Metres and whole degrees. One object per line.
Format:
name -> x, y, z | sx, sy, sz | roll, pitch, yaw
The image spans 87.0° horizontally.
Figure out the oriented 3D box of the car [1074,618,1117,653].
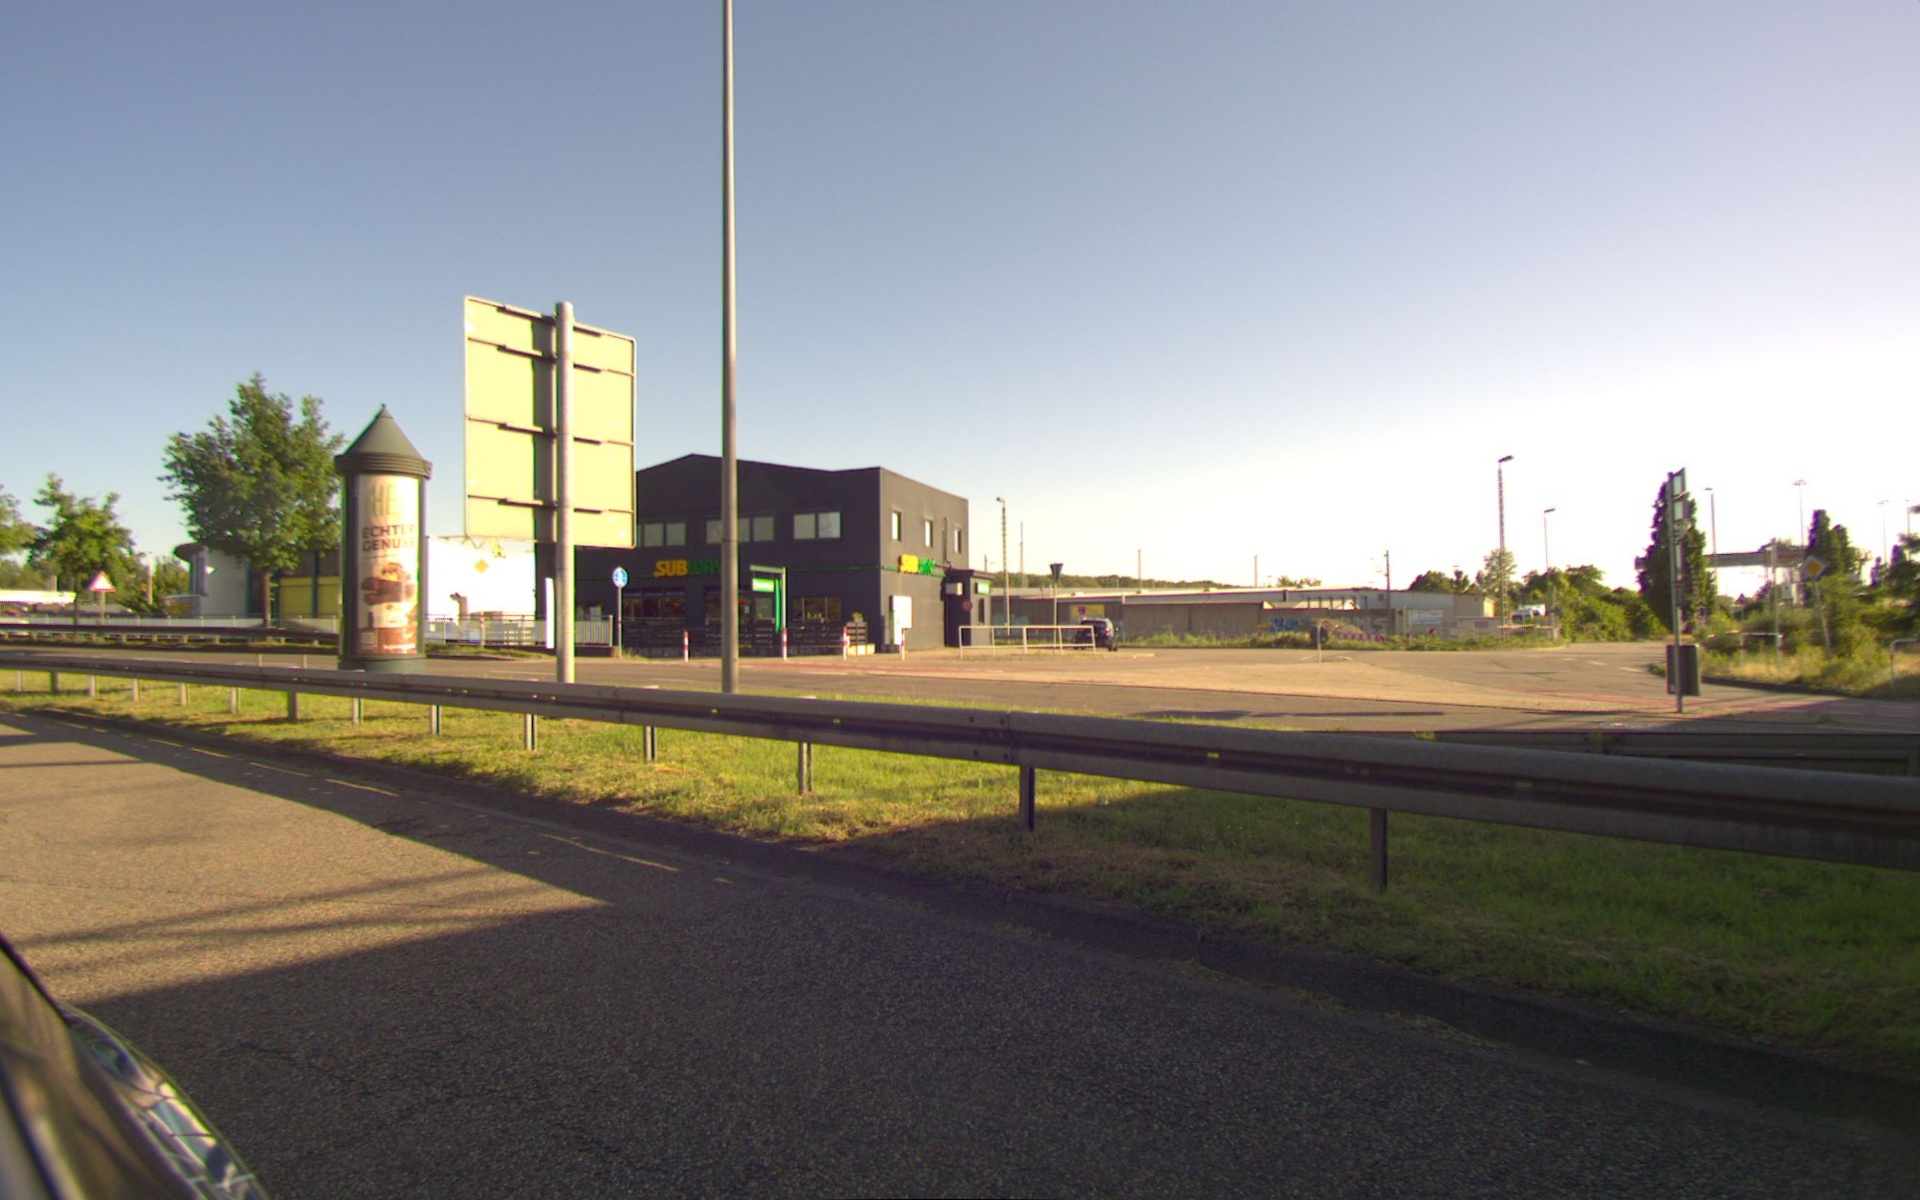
car -> 6.207, 1.610, 46.592 | 1.861, 1.453, 3.991 | -1, 0, 7
